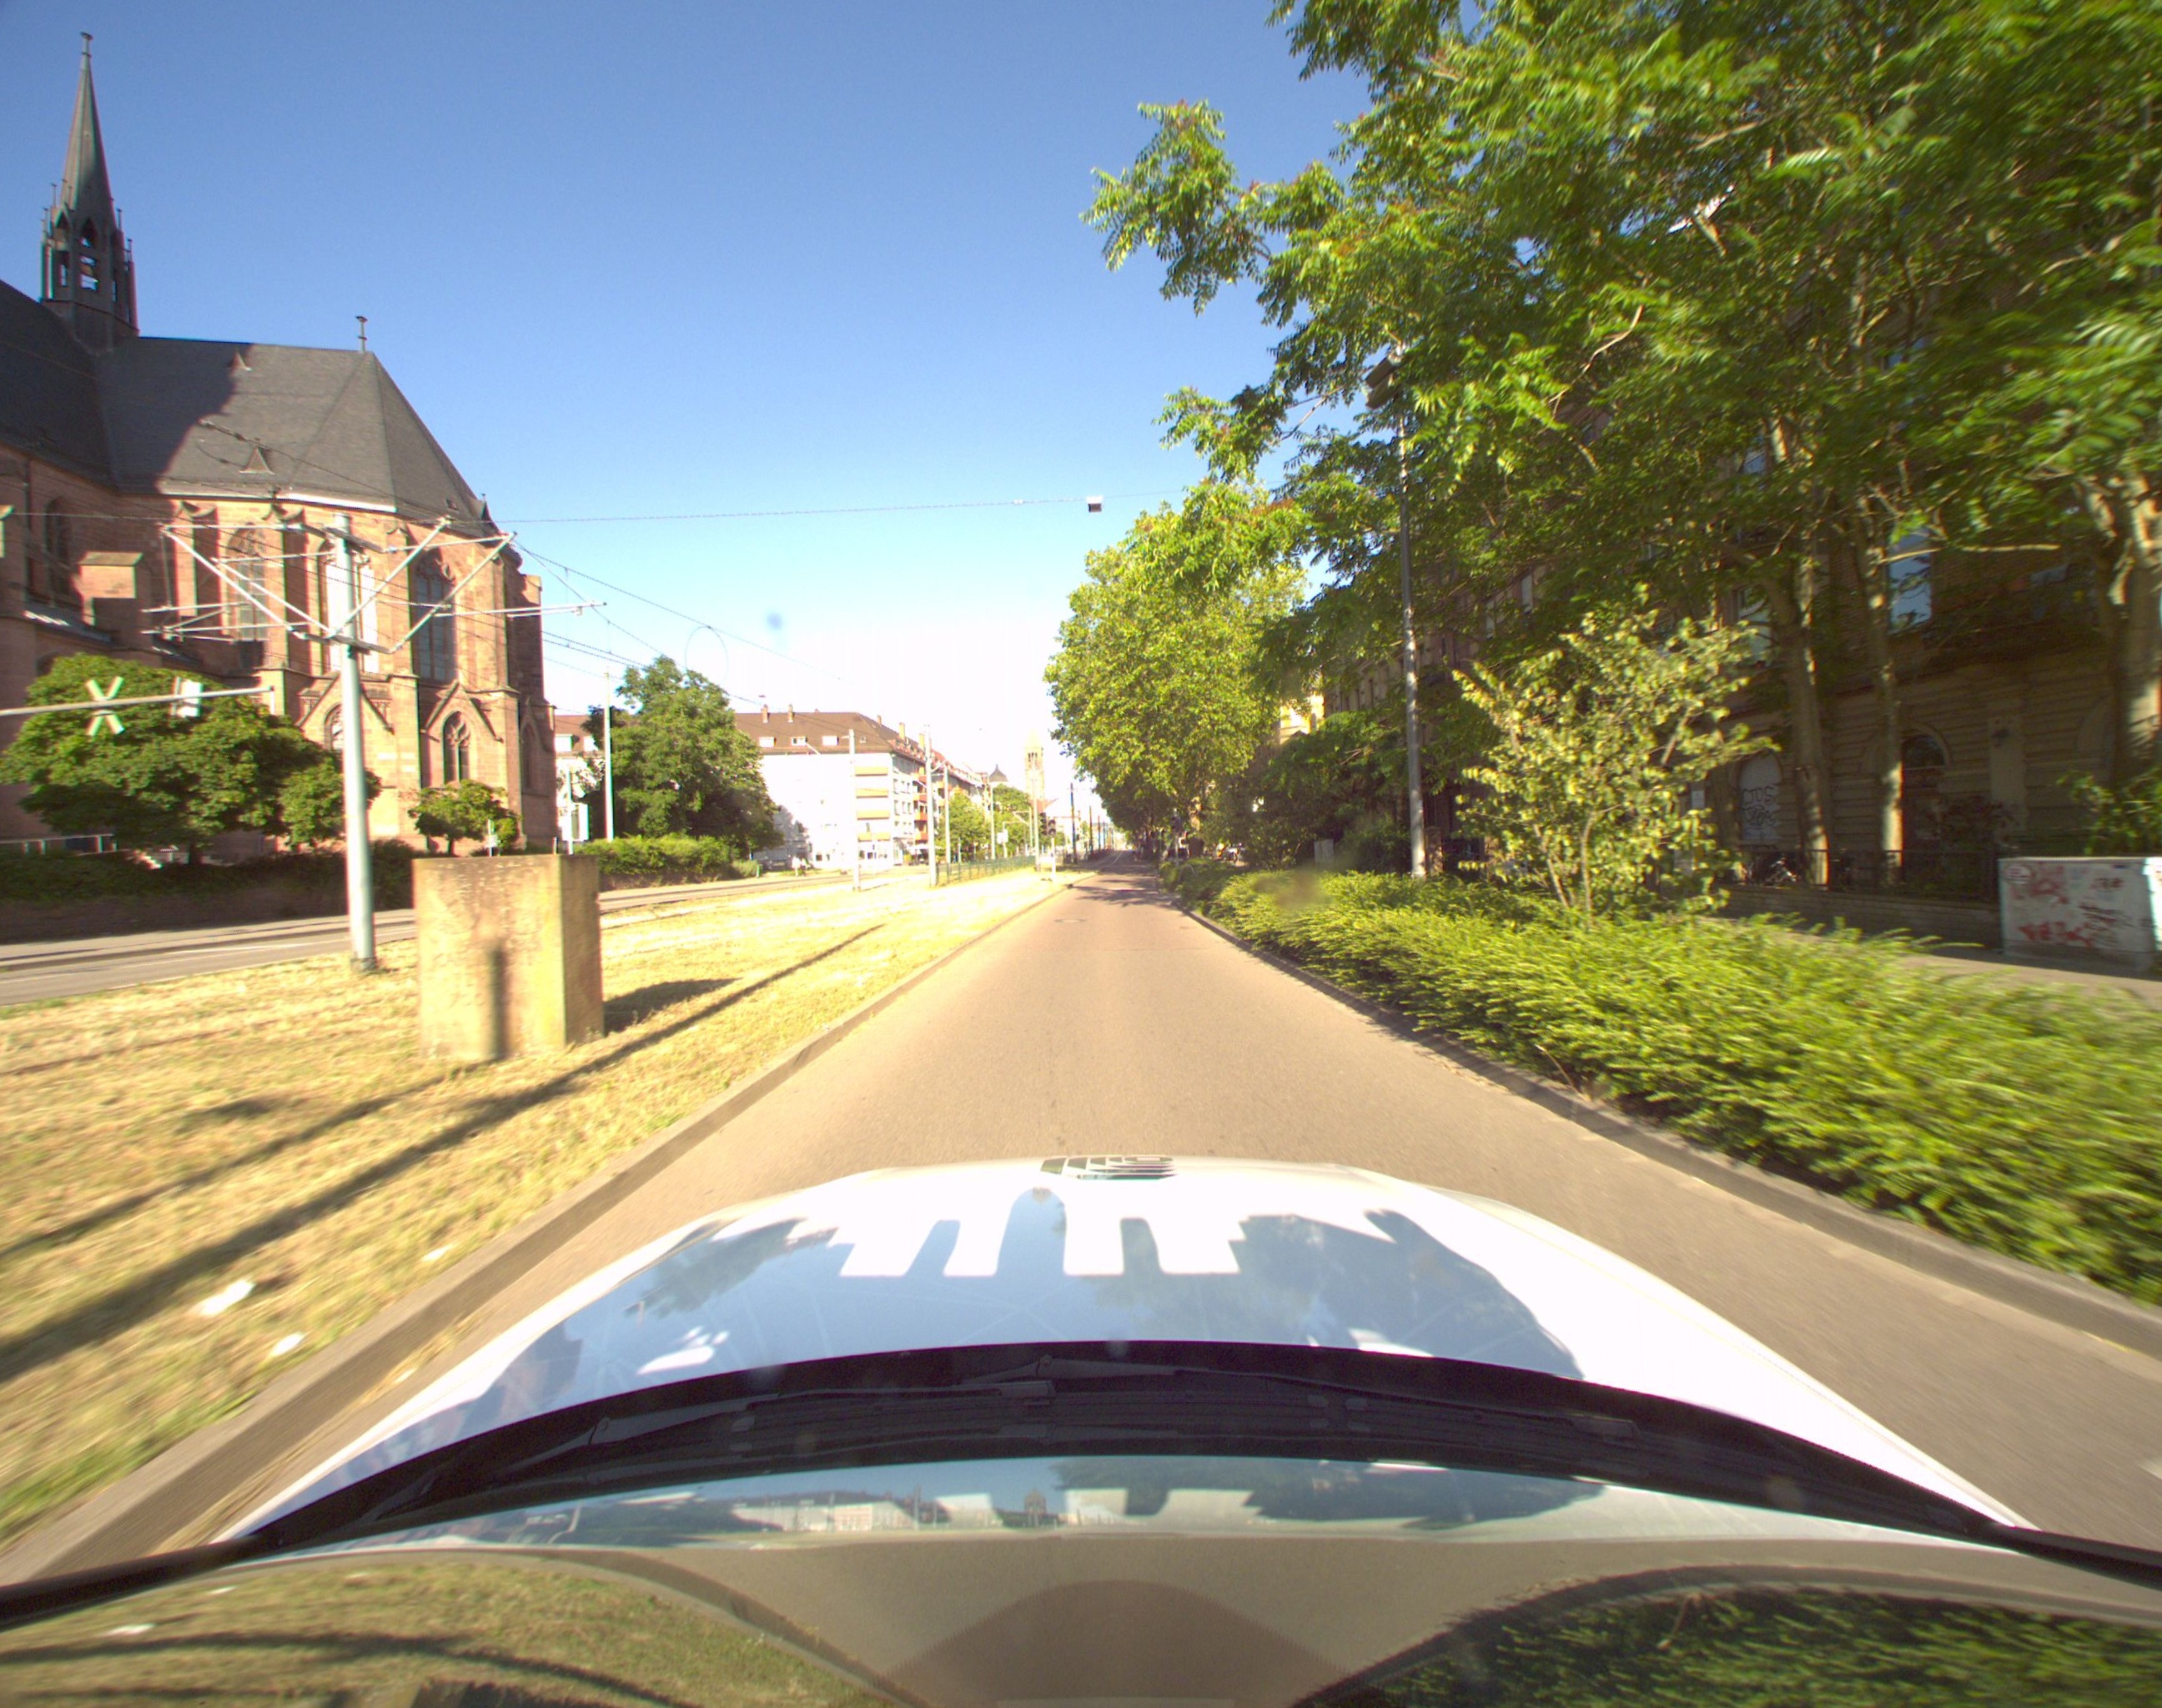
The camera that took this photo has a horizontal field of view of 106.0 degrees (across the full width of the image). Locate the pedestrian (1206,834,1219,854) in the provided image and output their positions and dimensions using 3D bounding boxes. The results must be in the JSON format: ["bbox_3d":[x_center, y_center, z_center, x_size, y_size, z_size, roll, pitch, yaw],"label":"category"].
[{"bbox_3d":[11.661,-0.901,72.159,0.812,1.689,1.079,-4,3,-6],"label":"pedestrian"}]

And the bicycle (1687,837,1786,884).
[{"bbox_3d":[14.374,0.137,17.890,1.721,0.924,0.443,-3,3,6],"label":"bicycle"}]

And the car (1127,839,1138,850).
[{"bbox_3d":[10.029,-1.865,157.702,1.985,2.107,4.004,0,0,4],"label":"car"}]

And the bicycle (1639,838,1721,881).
[{"bbox_3d":[14.535,0.125,19.783,1.588,0.924,0.443,-3,3,6],"label":"bicycle"}]

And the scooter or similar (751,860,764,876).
[{"bbox_3d":[-26.936,1.158,67.844,0.399,1.261,1.232,-3,3,4],"label":"scooter or similar"}]

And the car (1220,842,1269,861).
[{"bbox_3d":[14.308,-0.228,71.425,3.971,1.420,2.002,-3,1,2],"label":"car"}]

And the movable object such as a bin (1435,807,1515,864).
[{"bbox_3d":[15.053,-0.705,31.278,1.539,1.996,3.233,-3,1,2],"label":"movable object such as a bin"}]

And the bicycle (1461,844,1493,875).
[{"bbox_3d":[11.998,0.160,24.677,0.766,0.854,0.375,-4,3,0],"label":"bicycle"}]

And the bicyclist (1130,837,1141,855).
[{"bbox_3d":[5.898,-0.874,87.883,1.136,1.890,0.683,-3,3,3],"label":"bicyclist"}]

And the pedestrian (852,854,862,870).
[{"bbox_3d":[-21.622,0.804,78.708,0.685,1.467,0.592,-3,3,7],"label":"pedestrian"}]

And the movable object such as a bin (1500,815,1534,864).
[{"bbox_3d":[15.522,-0.528,28.994,0.751,1.692,0.743,-3,3,1],"label":"movable object such as a bin"}]

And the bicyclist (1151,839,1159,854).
[{"bbox_3d":[8.027,-0.781,88.611,0.748,1.557,0.572,-4,3,-5],"label":"bicyclist"}]

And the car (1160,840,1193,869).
[{"bbox_3d":[5.605,-0.021,48.111,1.636,1.511,4.187,-3,1,4],"label":"car"}]

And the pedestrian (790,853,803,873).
[{"bbox_3d":[-25.010,0.794,71.566,0.641,1.598,0.899,-3,3,3],"label":"pedestrian"}]

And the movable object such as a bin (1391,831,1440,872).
[{"bbox_3d":[12.030,-0.092,29.316,1.227,1.382,1.258,-3,1,2],"label":"movable object such as a bin"}]

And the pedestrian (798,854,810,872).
[{"bbox_3d":[-24.355,0.819,71.550,0.586,1.467,0.917,-3,3,4],"label":"pedestrian"}]

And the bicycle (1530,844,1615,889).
[{"bbox_3d":[11.673,0.293,19.372,1.645,0.924,0.540,-3,3,4],"label":"bicycle"}]

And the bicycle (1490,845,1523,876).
[{"bbox_3d":[12.853,0.201,24.599,0.766,0.854,0.375,-4,3,0],"label":"bicycle"}]

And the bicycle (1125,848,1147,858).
[{"bbox_3d":[5.926,-0.102,87.938,2.232,0.976,0.683,-2,3,2],"label":"bicycle"}]

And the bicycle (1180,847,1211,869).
[{"bbox_3d":[6.185,0.220,44.133,1.605,1.025,0.538,-5,4,-27],"label":"bicycle"}]

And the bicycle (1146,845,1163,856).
[{"bbox_3d":[7.996,-0.428,88.621,1.812,1.047,0.572,-4,3,-5],"label":"bicycle"}]

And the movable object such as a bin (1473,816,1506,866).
[{"bbox_3d":[14.560,-0.470,29.031,0.751,1.692,0.743,-3,3,1],"label":"movable object such as a bin"}]
